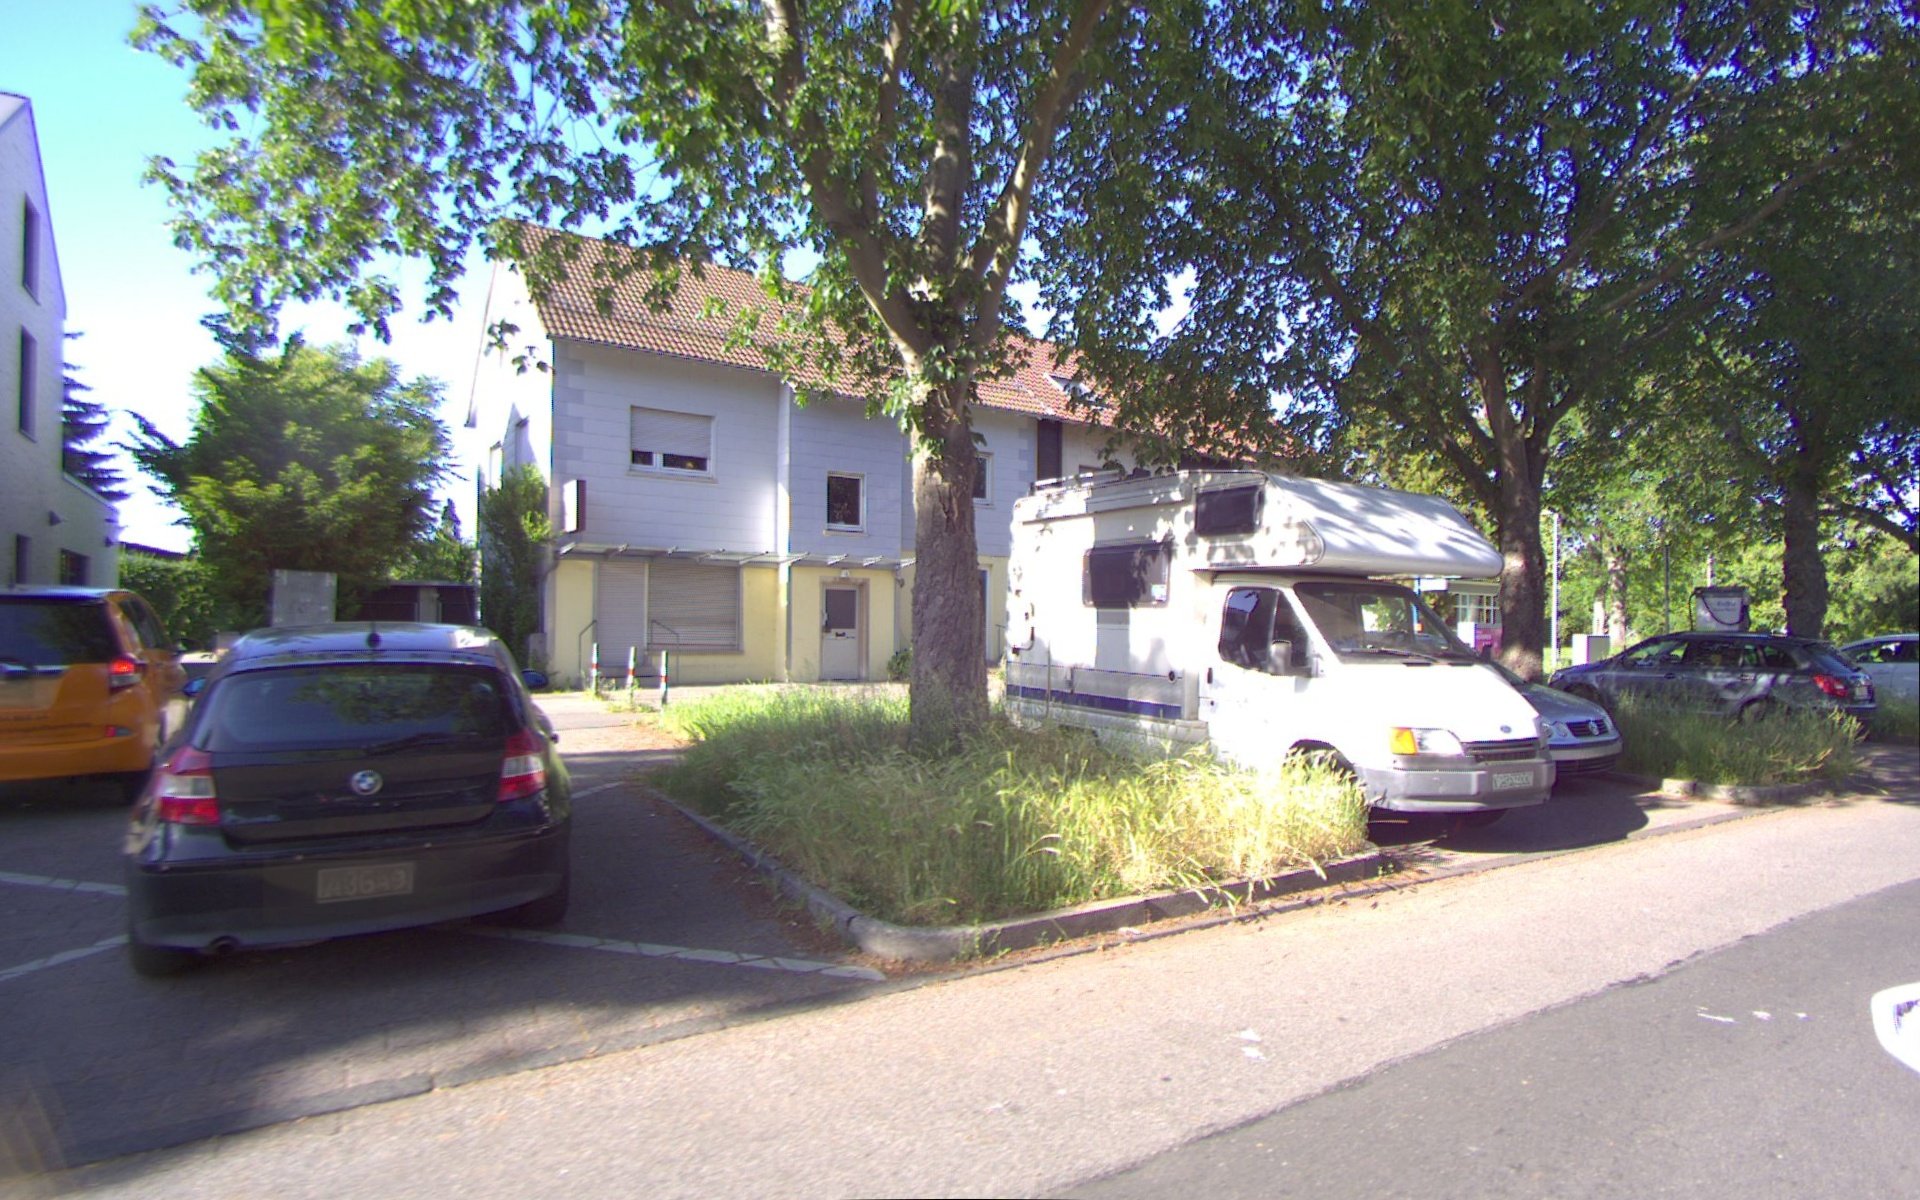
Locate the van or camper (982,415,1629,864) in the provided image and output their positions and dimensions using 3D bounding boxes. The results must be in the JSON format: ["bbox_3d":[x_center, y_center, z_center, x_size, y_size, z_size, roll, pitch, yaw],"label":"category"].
[{"bbox_3d":[2.553,0.169,9.350,1.976,2.842,5.750,2,2,-29],"label":"van or camper"}]

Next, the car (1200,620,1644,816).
[{"bbox_3d":[4.827,1.104,11.046,1.978,1.478,3.964,2,1,-32],"label":"car"}]

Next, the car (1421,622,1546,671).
[{"bbox_3d":[20.268,1.755,39.031,1.801,1.737,3.966,1,-1,-31],"label":"car"}]

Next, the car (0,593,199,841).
[{"bbox_3d":[-7.406,0.762,8.130,1.852,1.563,3.959,2,0,-36],"label":"car"}]

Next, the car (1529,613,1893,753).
[{"bbox_3d":[11.280,1.142,15.360,1.978,1.610,3.964,2,1,-32],"label":"car"}]

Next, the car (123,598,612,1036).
[{"bbox_3d":[-3.154,0.802,5.727,1.619,1.469,3.971,2,0,-27],"label":"car"}]

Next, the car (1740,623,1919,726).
[{"bbox_3d":[16.682,1.301,17.914,1.945,1.683,3.965,1,-1,-32],"label":"car"}]

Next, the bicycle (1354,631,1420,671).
[{"bbox_3d":[13.740,1.595,32.223,0.696,1.192,4.035,0,-1,42],"label":"bicycle"}]
